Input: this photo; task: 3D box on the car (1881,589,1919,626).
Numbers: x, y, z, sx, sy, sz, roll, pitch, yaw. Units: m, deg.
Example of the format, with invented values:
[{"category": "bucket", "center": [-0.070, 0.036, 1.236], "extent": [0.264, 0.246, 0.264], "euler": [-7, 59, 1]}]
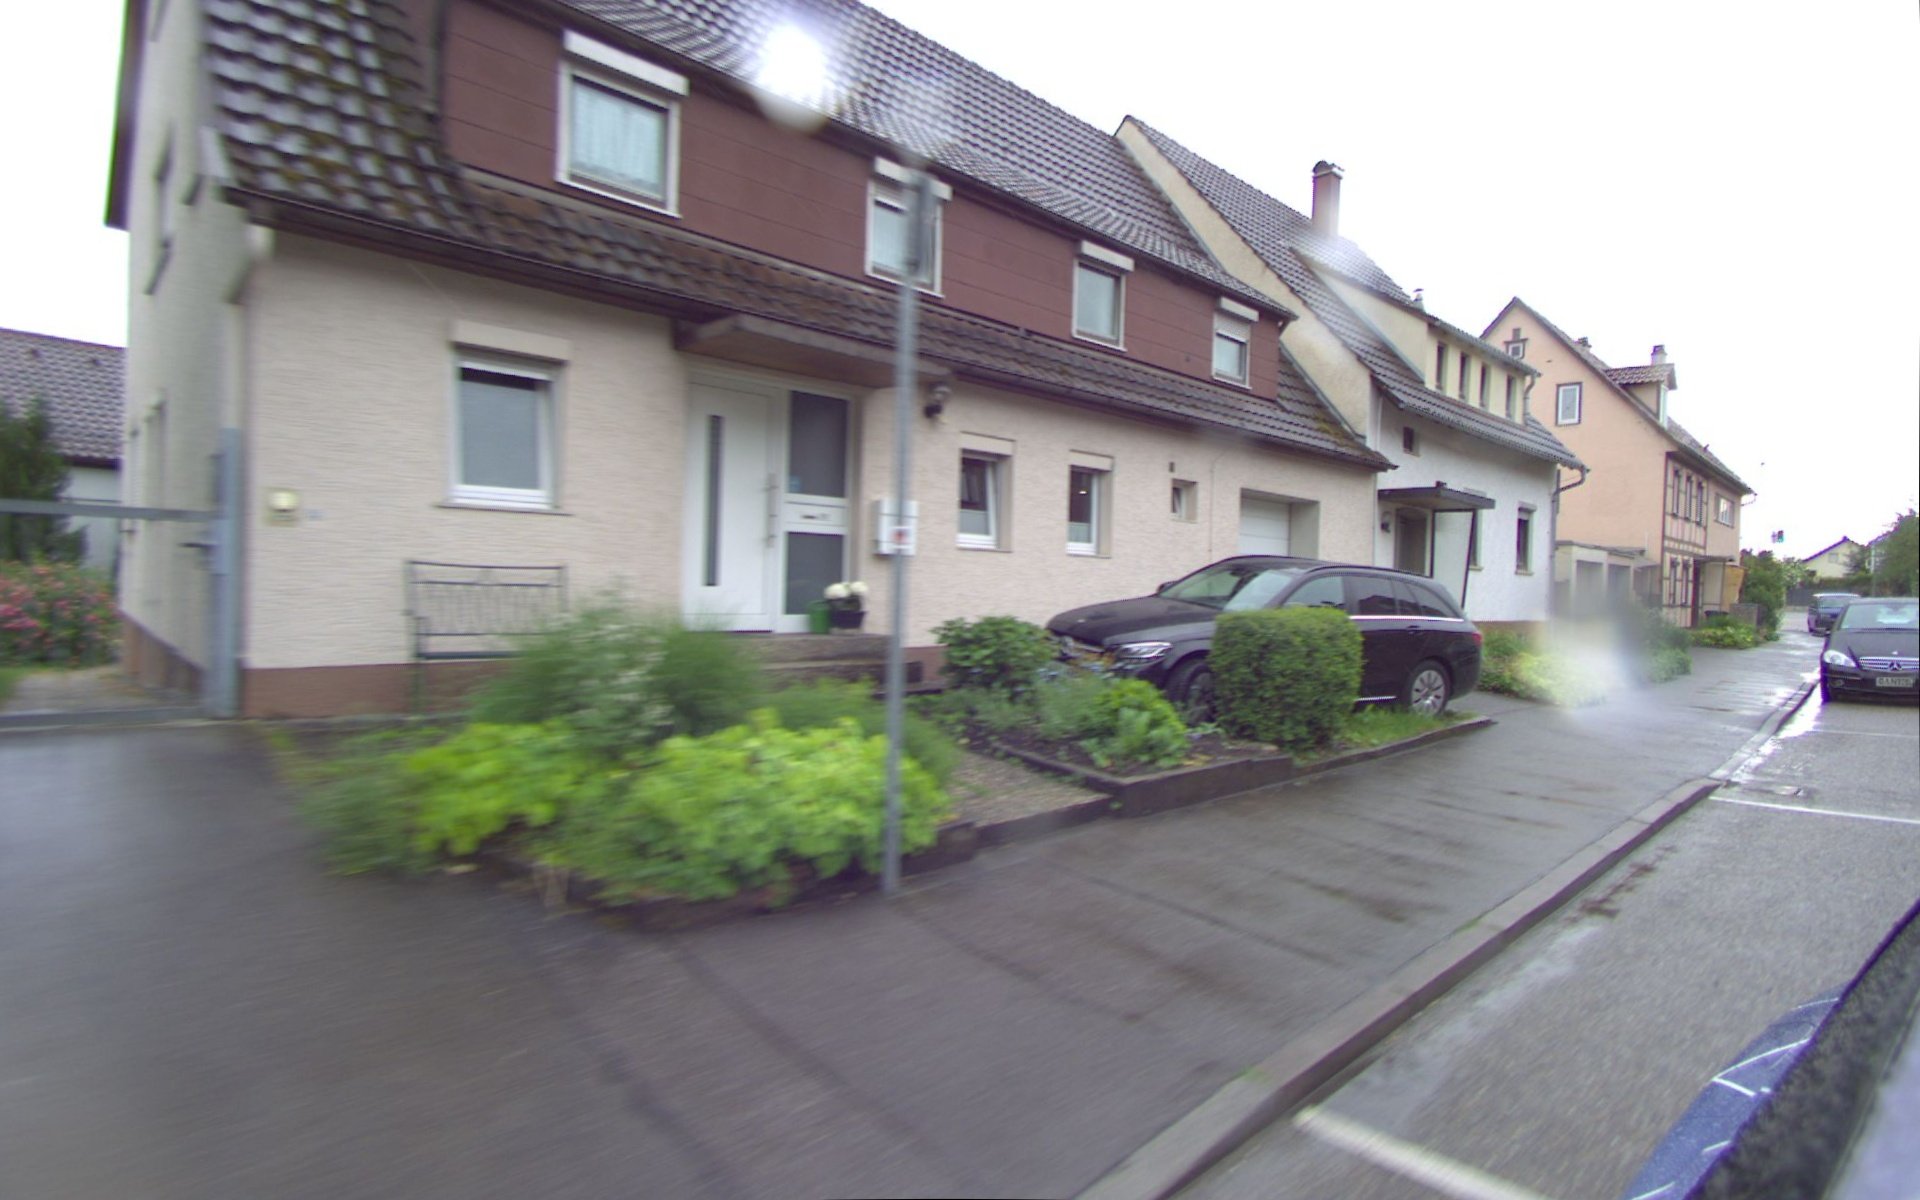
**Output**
[{"category": "car", "center": [45.355, 0.360, 47.715], "extent": [1.900, 1.682, 3.960], "euler": [2, 2, 29]}]

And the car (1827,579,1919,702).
[{"category": "car", "center": [15.009, 0.578, 15.864], "extent": [3.934, 1.731, 1.751], "euler": [0, 2, -44]}]

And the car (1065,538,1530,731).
[{"category": "car", "center": [3.193, 0.293, 9.595], "extent": [3.917, 1.409, 1.770], "euler": [2, 6, -25]}]

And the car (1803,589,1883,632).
[{"category": "car", "center": [41.735, 0.433, 47.946], "extent": [1.920, 1.926, 4.742], "euler": [0, 0, 30]}]

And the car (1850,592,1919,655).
[{"category": "car", "center": [26.368, 0.601, 28.453], "extent": [1.803, 1.615, 4.538], "euler": [0, 1, 45]}]
